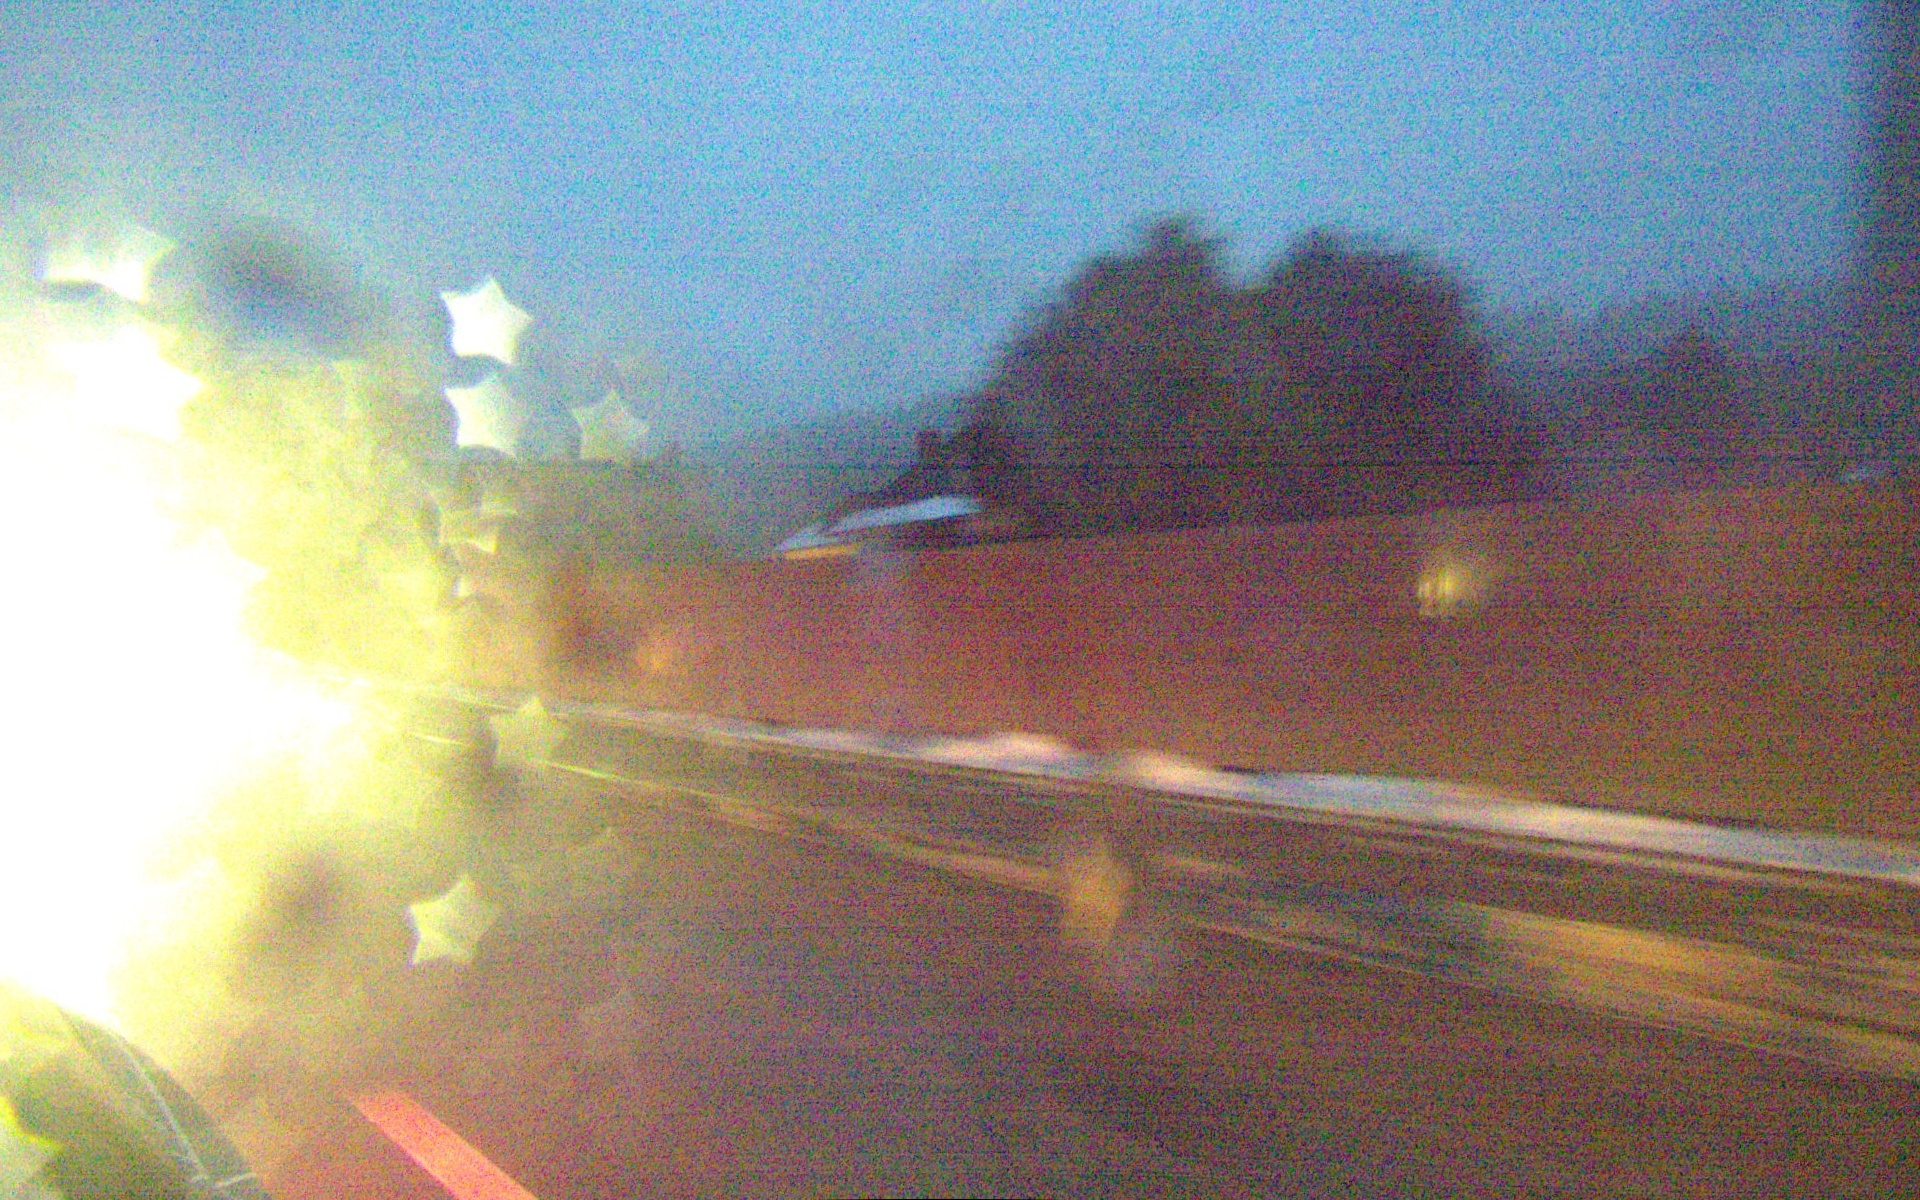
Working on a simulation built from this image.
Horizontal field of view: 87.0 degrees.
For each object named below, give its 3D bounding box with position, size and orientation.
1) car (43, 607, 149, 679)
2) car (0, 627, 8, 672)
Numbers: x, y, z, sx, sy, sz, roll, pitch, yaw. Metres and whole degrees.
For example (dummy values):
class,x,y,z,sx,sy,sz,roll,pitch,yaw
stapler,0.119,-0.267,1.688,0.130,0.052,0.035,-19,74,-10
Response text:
class,x,y,z,sx,sy,sz,roll,pitch,yaw
car,-24.594,1.165,28.759,1.954,1.791,4.002,-3,2,-45
car,-33.478,1.691,34.045,1.970,1.430,4.005,-3,2,-42
